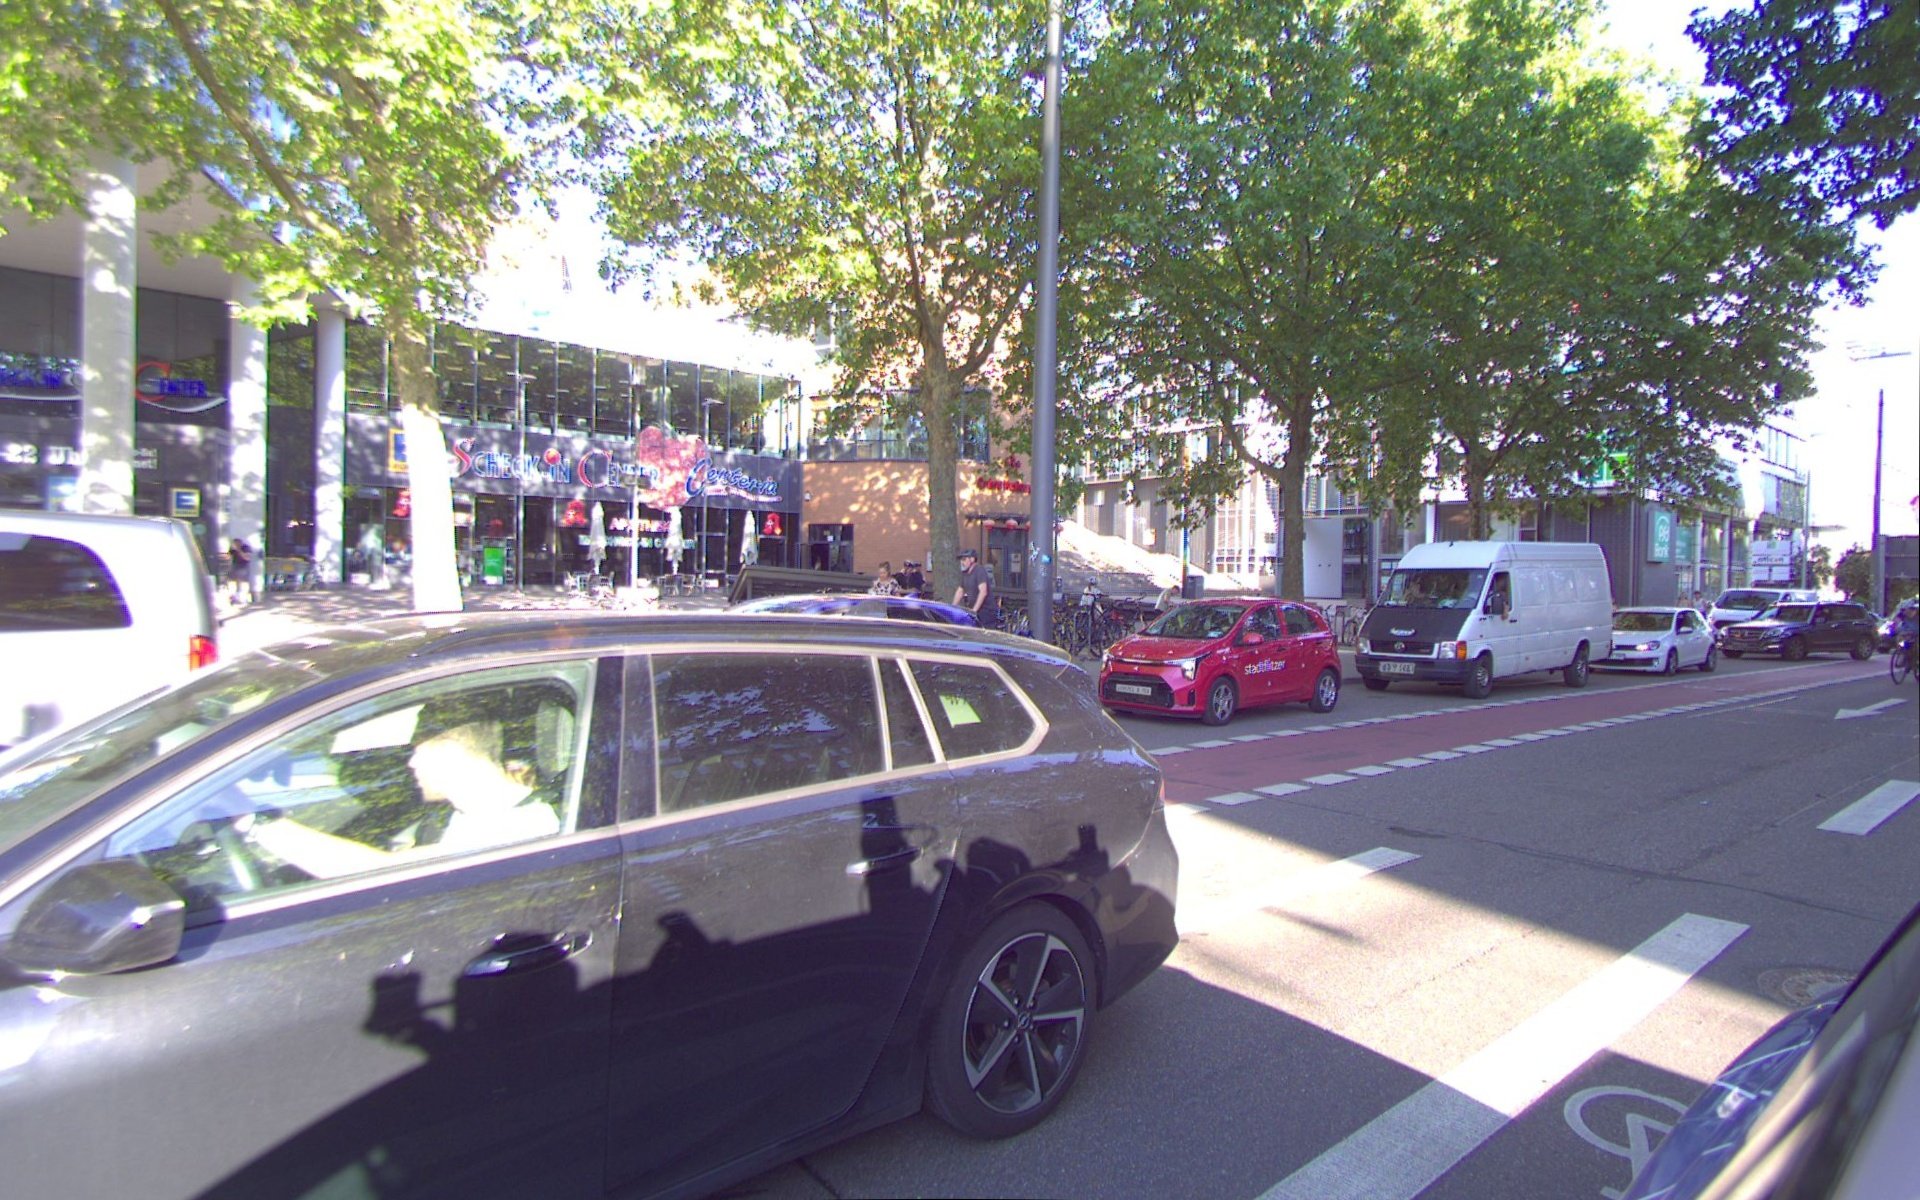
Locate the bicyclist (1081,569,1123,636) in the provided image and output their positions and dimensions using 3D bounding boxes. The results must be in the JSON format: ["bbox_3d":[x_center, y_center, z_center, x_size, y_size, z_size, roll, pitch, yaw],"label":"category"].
[{"bbox_3d":[3.490,0.056,24.823,0.804,1.636,0.565,1,1,-24],"label":"bicyclist"}]

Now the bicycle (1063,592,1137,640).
[{"bbox_3d":[3.434,0.379,24.807,1.741,1.140,0.569,1,1,-25],"label":"bicycle"}]

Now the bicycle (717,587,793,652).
[{"bbox_3d":[-3.882,0.352,19.269,0.420,1.174,1.455,2,1,41],"label":"bicycle"}]

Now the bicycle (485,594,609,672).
[{"bbox_3d":[-5.793,0.441,14.249,1.546,1.038,0.461,0,2,-43],"label":"bicycle"}]

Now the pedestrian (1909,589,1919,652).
[{"bbox_3d":[19.128,0.407,19.803,0.760,1.240,0.665,0,1,-37],"label":"pedestrian"}]

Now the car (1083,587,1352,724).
[{"bbox_3d":[3.341,0.597,12.816,3.558,1.482,1.561,0,1,-41],"label":"car"}]

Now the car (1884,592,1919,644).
[{"bbox_3d":[31.582,0.579,32.517,3.921,1.593,1.763,0,1,-31],"label":"car"}]

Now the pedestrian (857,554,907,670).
[{"bbox_3d":[-1.265,0.175,16.254,0.644,1.808,0.810,1,1,-14],"label":"pedestrian"}]

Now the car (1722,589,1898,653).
[{"bbox_3d":[23.592,0.562,28.130,3.937,1.658,1.791,1,1,-15],"label":"car"}]

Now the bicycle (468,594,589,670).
[{"bbox_3d":[-6.227,0.438,14.662,1.546,1.038,0.461,0,2,-43],"label":"bicycle"}]

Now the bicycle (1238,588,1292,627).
[{"bbox_3d":[8.579,0.204,28.421,1.624,1.060,0.597,0,1,-37],"label":"bicycle"}]

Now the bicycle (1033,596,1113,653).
[{"bbox_3d":[2.226,0.459,19.819,1.626,1.044,0.596,0,1,-41],"label":"bicycle"}]

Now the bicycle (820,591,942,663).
[{"bbox_3d":[-1.298,0.445,16.583,1.908,1.130,0.598,1,1,-13],"label":"bicycle"}]

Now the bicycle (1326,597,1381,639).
[{"bbox_3d":[10.606,0.473,27.249,1.624,1.060,0.597,0,1,-37],"label":"bicycle"}]

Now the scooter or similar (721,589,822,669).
[{"bbox_3d":[-2.922,0.438,15.715,1.249,1.156,0.905,-2,0,37],"label":"scooter or similar"}]

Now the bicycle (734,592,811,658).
[{"bbox_3d":[-3.481,0.437,18.867,0.420,1.174,1.455,2,1,41],"label":"bicycle"}]

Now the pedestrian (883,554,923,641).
[{"bbox_3d":[-1.194,-0.067,21.189,0.755,1.779,0.821,1,1,-7],"label":"pedestrian"}]

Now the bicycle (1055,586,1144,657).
[{"bbox_3d":[2.672,0.383,19.282,1.843,1.280,0.596,0,1,-41],"label":"bicycle"}]

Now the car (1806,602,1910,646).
[{"bbox_3d":[32.161,0.812,36.217,3.943,1.437,1.788,0,2,-33],"label":"car"}]

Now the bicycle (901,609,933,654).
[{"bbox_3d":[-0.807,0.569,18.868,0.391,0.770,1.114,1,1,-13],"label":"bicycle"}]

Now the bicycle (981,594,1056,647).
[{"bbox_3d":[1.216,0.414,20.862,1.626,1.044,0.503,0,1,-41],"label":"bicycle"}]

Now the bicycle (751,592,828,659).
[{"bbox_3d":[-3.115,0.440,18.569,0.420,1.174,1.455,2,1,41],"label":"bicycle"}]

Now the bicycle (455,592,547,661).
[{"bbox_3d":[-7.226,0.412,15.961,1.293,1.038,0.397,1,1,-24],"label":"bicycle"}]

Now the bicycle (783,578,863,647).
[{"bbox_3d":[-2.463,0.210,18.289,0.478,1.174,1.455,2,1,41],"label":"bicycle"}]

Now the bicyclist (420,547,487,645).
[{"bbox_3d":[-9.562,-0.084,19.102,0.842,1.789,0.748,2,1,20],"label":"bicyclist"}]

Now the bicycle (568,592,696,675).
[{"bbox_3d":[-4.509,0.439,13.944,1.542,1.070,0.630,0,1,-35],"label":"bicycle"}]

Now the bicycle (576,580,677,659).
[{"bbox_3d":[-5.225,0.289,15.909,1.451,1.174,0.421,0,1,-42],"label":"bicycle"}]

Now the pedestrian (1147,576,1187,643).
[{"bbox_3d":[5.249,0.230,25.698,0.623,1.651,0.719,1,1,-34],"label":"pedestrian"}]

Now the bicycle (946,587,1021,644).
[{"bbox_3d":[0.520,0.328,21.736,1.662,1.174,0.479,0,1,-37],"label":"bicycle"}]

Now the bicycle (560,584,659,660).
[{"bbox_3d":[-5.666,0.346,16.413,1.450,1.174,0.421,0,1,-40],"label":"bicycle"}]

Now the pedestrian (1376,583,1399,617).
[{"bbox_3d":[18.939,0.001,44.815,0.589,1.474,0.713,1,1,-37],"label":"pedestrian"}]

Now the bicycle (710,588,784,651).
[{"bbox_3d":[-4.159,0.365,19.817,0.420,1.174,1.455,2,1,41],"label":"bicycle"}]

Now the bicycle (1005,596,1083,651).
[{"bbox_3d":[1.700,0.458,20.382,1.626,1.044,0.596,0,1,-41],"label":"bicycle"}]

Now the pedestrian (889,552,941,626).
[{"bbox_3d":[-1.109,-0.266,24.913,1.000,1.779,0.789,0,1,-35],"label":"pedestrian"}]

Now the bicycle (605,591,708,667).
[{"bbox_3d":[-4.595,0.419,15.366,1.451,1.095,0.421,0,1,-42],"label":"bicycle"}]

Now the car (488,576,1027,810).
[{"bbox_3d":[-1.535,0.583,8.565,4.143,1.482,1.768,0,2,-41],"label":"car"}]

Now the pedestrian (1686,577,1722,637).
[{"bbox_3d":[25.487,0.226,34.685,0.652,2.039,0.809,0,0,-34],"label":"pedestrian"}]

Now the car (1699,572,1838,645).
[{"bbox_3d":[26.268,0.245,32.832,5.189,2.160,2.130,0,2,-35],"label":"car"}]

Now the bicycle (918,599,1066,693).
[{"bbox_3d":[0.457,0.570,13.398,2.089,1.134,0.551,0,4,-40],"label":"bicycle"}]

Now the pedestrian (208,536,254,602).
[{"bbox_3d":[-18.868,-0.807,26.193,0.851,1.661,0.966,0,1,-44],"label":"pedestrian"}]

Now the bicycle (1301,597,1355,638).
[{"bbox_3d":[10.138,0.468,27.869,1.624,1.060,0.597,0,1,-37],"label":"bicycle"}]

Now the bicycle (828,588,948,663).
[{"bbox_3d":[-1.141,0.392,15.898,1.788,1.130,0.598,1,1,-13],"label":"bicycle"}]

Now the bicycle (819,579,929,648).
[{"bbox_3d":[-1.483,0.227,17.341,1.788,1.130,0.598,1,1,-13],"label":"bicycle"}]

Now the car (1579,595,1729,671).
[{"bbox_3d":[15.368,0.670,22.344,3.798,1.482,1.671,0,2,-38],"label":"car"}]

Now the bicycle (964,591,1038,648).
[{"bbox_3d":[0.876,0.390,21.315,1.626,1.151,0.503,0,1,-41],"label":"bicycle"}]

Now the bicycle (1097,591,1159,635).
[{"bbox_3d":[4.491,0.344,27.020,1.622,1.140,0.598,0,1,-32],"label":"bicycle"}]

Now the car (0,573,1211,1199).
[{"bbox_3d":[-1.397,0.681,2.535,4.270,1.443,1.825,0,0,-41],"label":"car"}]

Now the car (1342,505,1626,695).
[{"bbox_3d":[9.277,-0.006,17.586,6.443,2.759,1.998,0,0,-39],"label":"car"}]

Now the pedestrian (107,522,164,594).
[{"bbox_3d":[-22.046,-1.121,27.072,0.834,1.866,1.002,1,1,-15],"label":"pedestrian"}]

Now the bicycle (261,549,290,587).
[{"bbox_3d":[-21.468,-0.997,31.766,0.705,1.142,1.921,1,2,-32],"label":"bicycle"}]

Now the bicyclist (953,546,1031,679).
[{"bbox_3d":[0.426,0.152,13.477,0.702,1.709,0.752,0,0,-40],"label":"bicyclist"}]

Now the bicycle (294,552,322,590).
[{"bbox_3d":[-20.784,-0.930,32.274,0.705,1.142,1.921,1,2,-32],"label":"bicycle"}]

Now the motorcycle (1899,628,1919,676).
[{"bbox_3d":[19.115,1.015,19.836,2.181,0.859,0.667,0,2,-38],"label":"motorcycle"}]

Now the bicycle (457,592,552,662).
[{"bbox_3d":[-6.971,0.402,15.509,1.293,1.038,0.397,1,1,-24],"label":"bicycle"}]

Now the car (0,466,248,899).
[{"bbox_3d":[-6.261,0.379,4.388,5.047,1.991,1.997,0,0,-41],"label":"car"}]
